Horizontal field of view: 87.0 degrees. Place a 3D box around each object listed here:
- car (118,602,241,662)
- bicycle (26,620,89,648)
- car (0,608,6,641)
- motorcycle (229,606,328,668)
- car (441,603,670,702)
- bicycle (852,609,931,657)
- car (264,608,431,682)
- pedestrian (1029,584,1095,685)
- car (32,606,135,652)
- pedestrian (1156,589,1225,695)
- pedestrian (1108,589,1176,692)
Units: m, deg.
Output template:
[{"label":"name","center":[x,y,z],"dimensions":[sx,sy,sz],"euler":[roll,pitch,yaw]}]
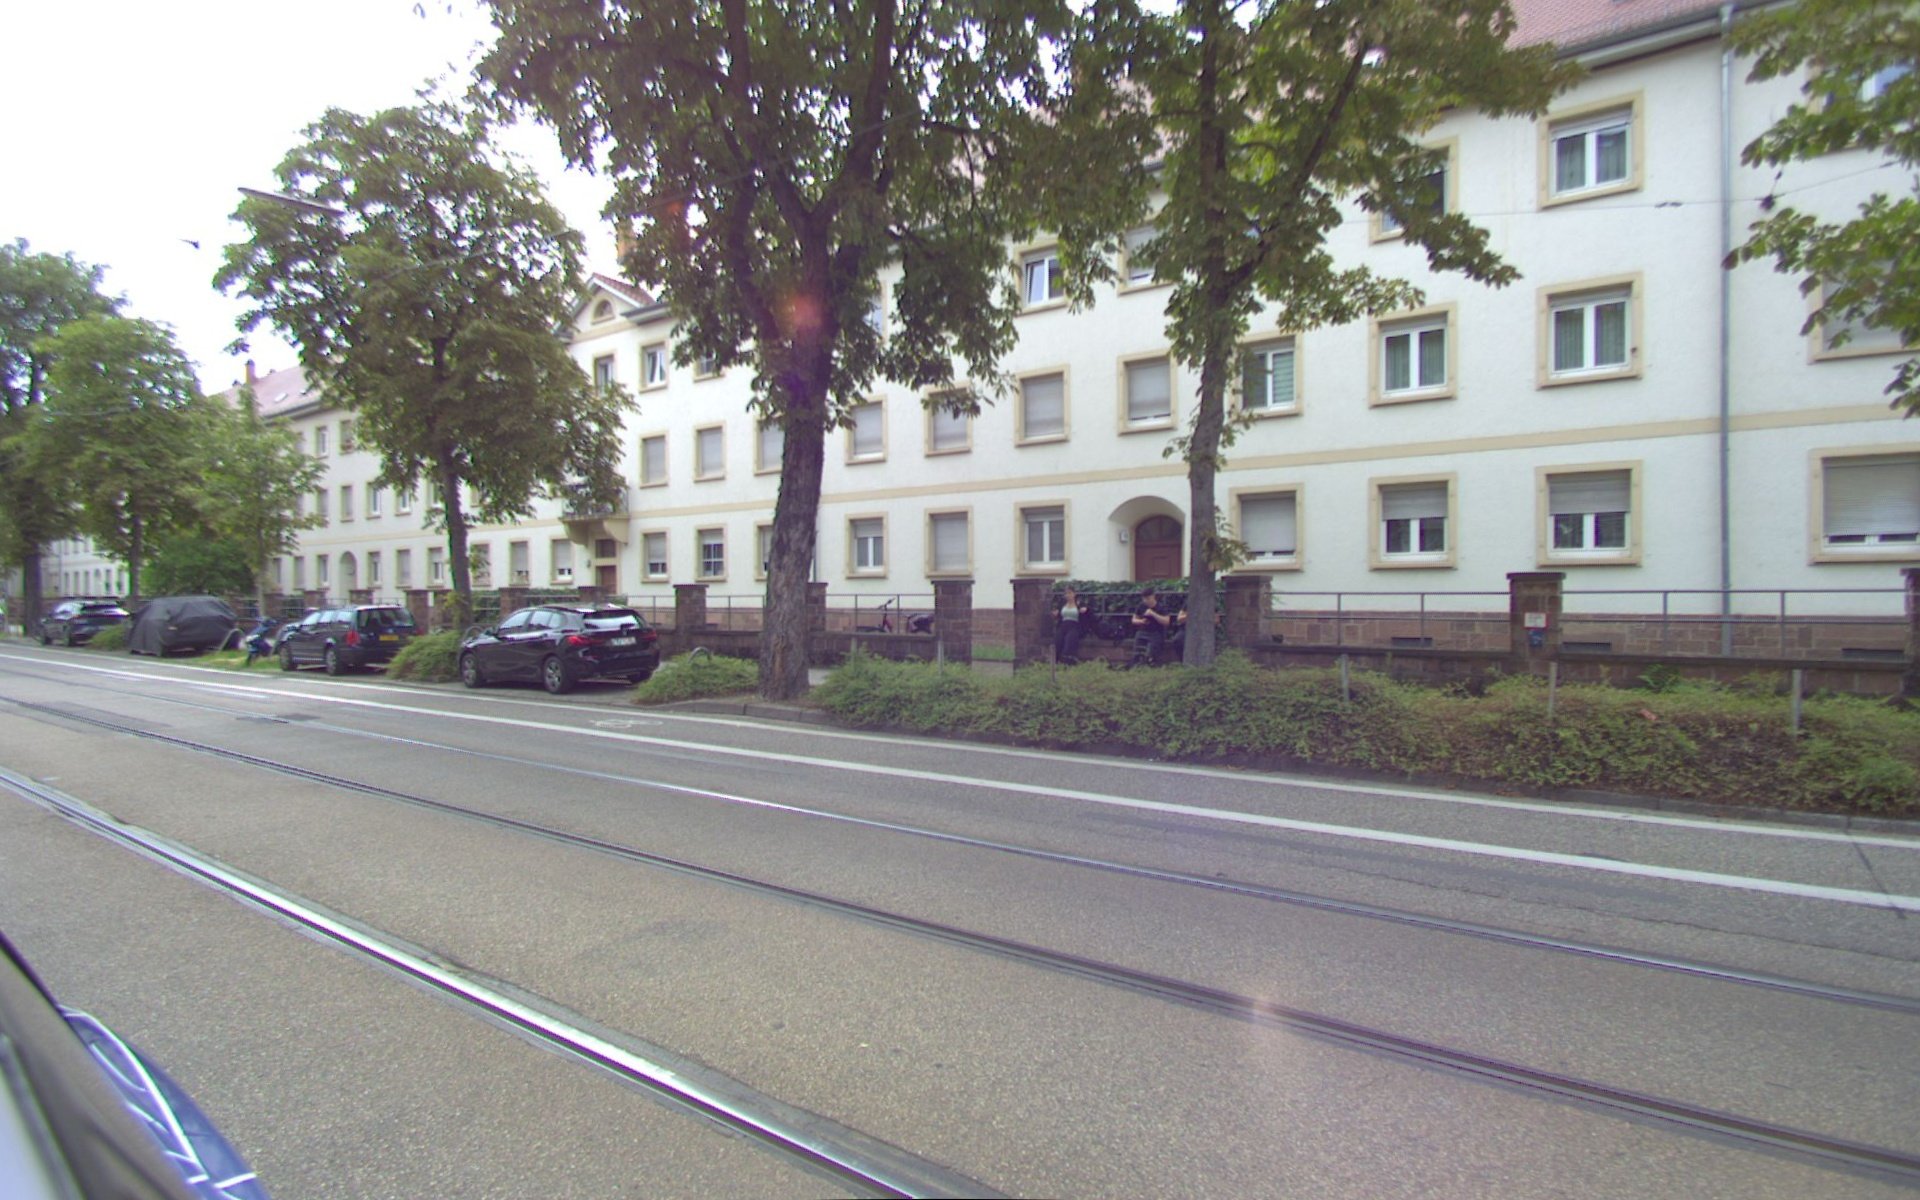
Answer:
[{"label":"car","center":[-22.688,0.884,29.364],"dimensions":[4.292,1.624,1.769],"euler":[0,0,37]},{"label":"bicycle","center":[-33.734,1.253,37.848],"dimensions":[0.670,0.978,1.656],"euler":[0,0,28]},{"label":"car","center":[-45.468,1.138,46.389],"dimensions":[4.290,1.481,1.682],"euler":[0,0,35]},{"label":"motorcycle","center":[-16.671,0.885,24.804],"dimensions":[0.590,1.269,1.852],"euler":[-1,5,33]},{"label":"car","center":[-7.113,0.824,17.618],"dimensions":[4.292,1.434,1.681],"euler":[0,3,37]},{"label":"bicycle","center":[-1.315,0.609,19.166],"dimensions":[1.547,0.869,0.504],"euler":[0,-1,37]},{"label":"car","center":[-13.608,0.923,22.410],"dimensions":[4.292,1.434,1.681],"euler":[0,1,37]},{"label":"pedestrian","center":[1.590,0.520,15.726],"dimensions":[0.730,1.524,0.826],"euler":[-1,0,32]},{"label":"car","center":[-30.132,0.957,34.768],"dimensions":[4.290,1.481,1.682],"euler":[0,0,35]},{"label":"pedestrian","center":[3.311,0.583,14.527],"dimensions":[0.730,1.476,0.826],"euler":[-1,0,32]},{"label":"pedestrian","center":[2.694,0.579,14.937],"dimensions":[0.730,1.476,0.826],"euler":[-1,0,32]}]
